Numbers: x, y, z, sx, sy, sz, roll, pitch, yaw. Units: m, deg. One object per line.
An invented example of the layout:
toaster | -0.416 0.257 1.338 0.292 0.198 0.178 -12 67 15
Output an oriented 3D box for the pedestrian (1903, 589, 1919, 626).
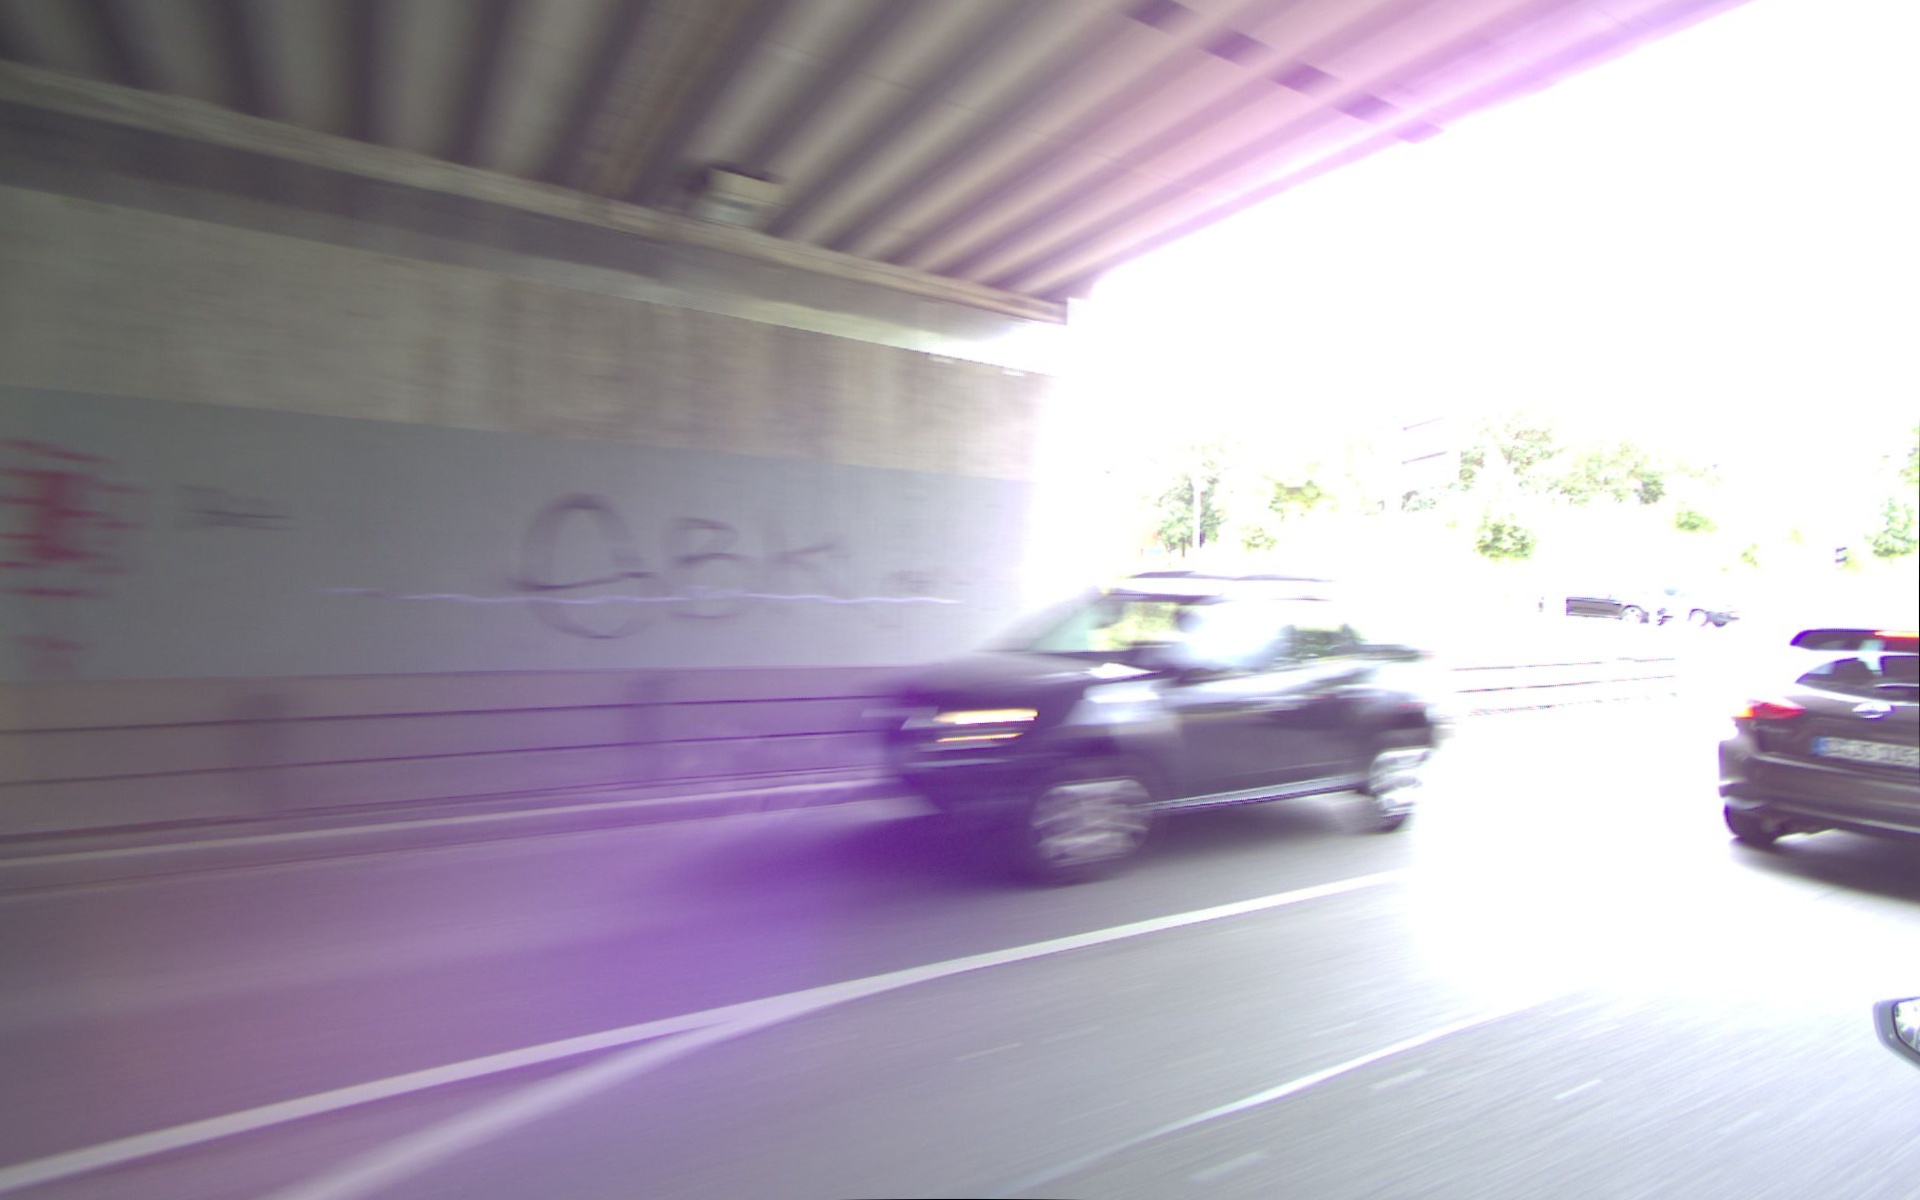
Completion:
pedestrian | 42.579 0.337 44.565 0.694 1.634 0.944 0 2 -40

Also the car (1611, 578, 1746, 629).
car | 28.921 0.116 40.533 1.979 1.974 3.963 0 1 -33

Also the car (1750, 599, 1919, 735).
car | 12.729 0.826 13.962 3.962 1.613 1.750 1 1 -37

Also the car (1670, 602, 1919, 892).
car | 6.636 0.824 6.594 3.956 1.513 1.834 1 1 -32

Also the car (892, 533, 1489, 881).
car | 1.617 0.571 6.698 3.747 1.731 1.677 2 1 -32

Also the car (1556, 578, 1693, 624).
car | 25.461 0.003 38.643 1.848 1.617 3.972 1 2 -26
